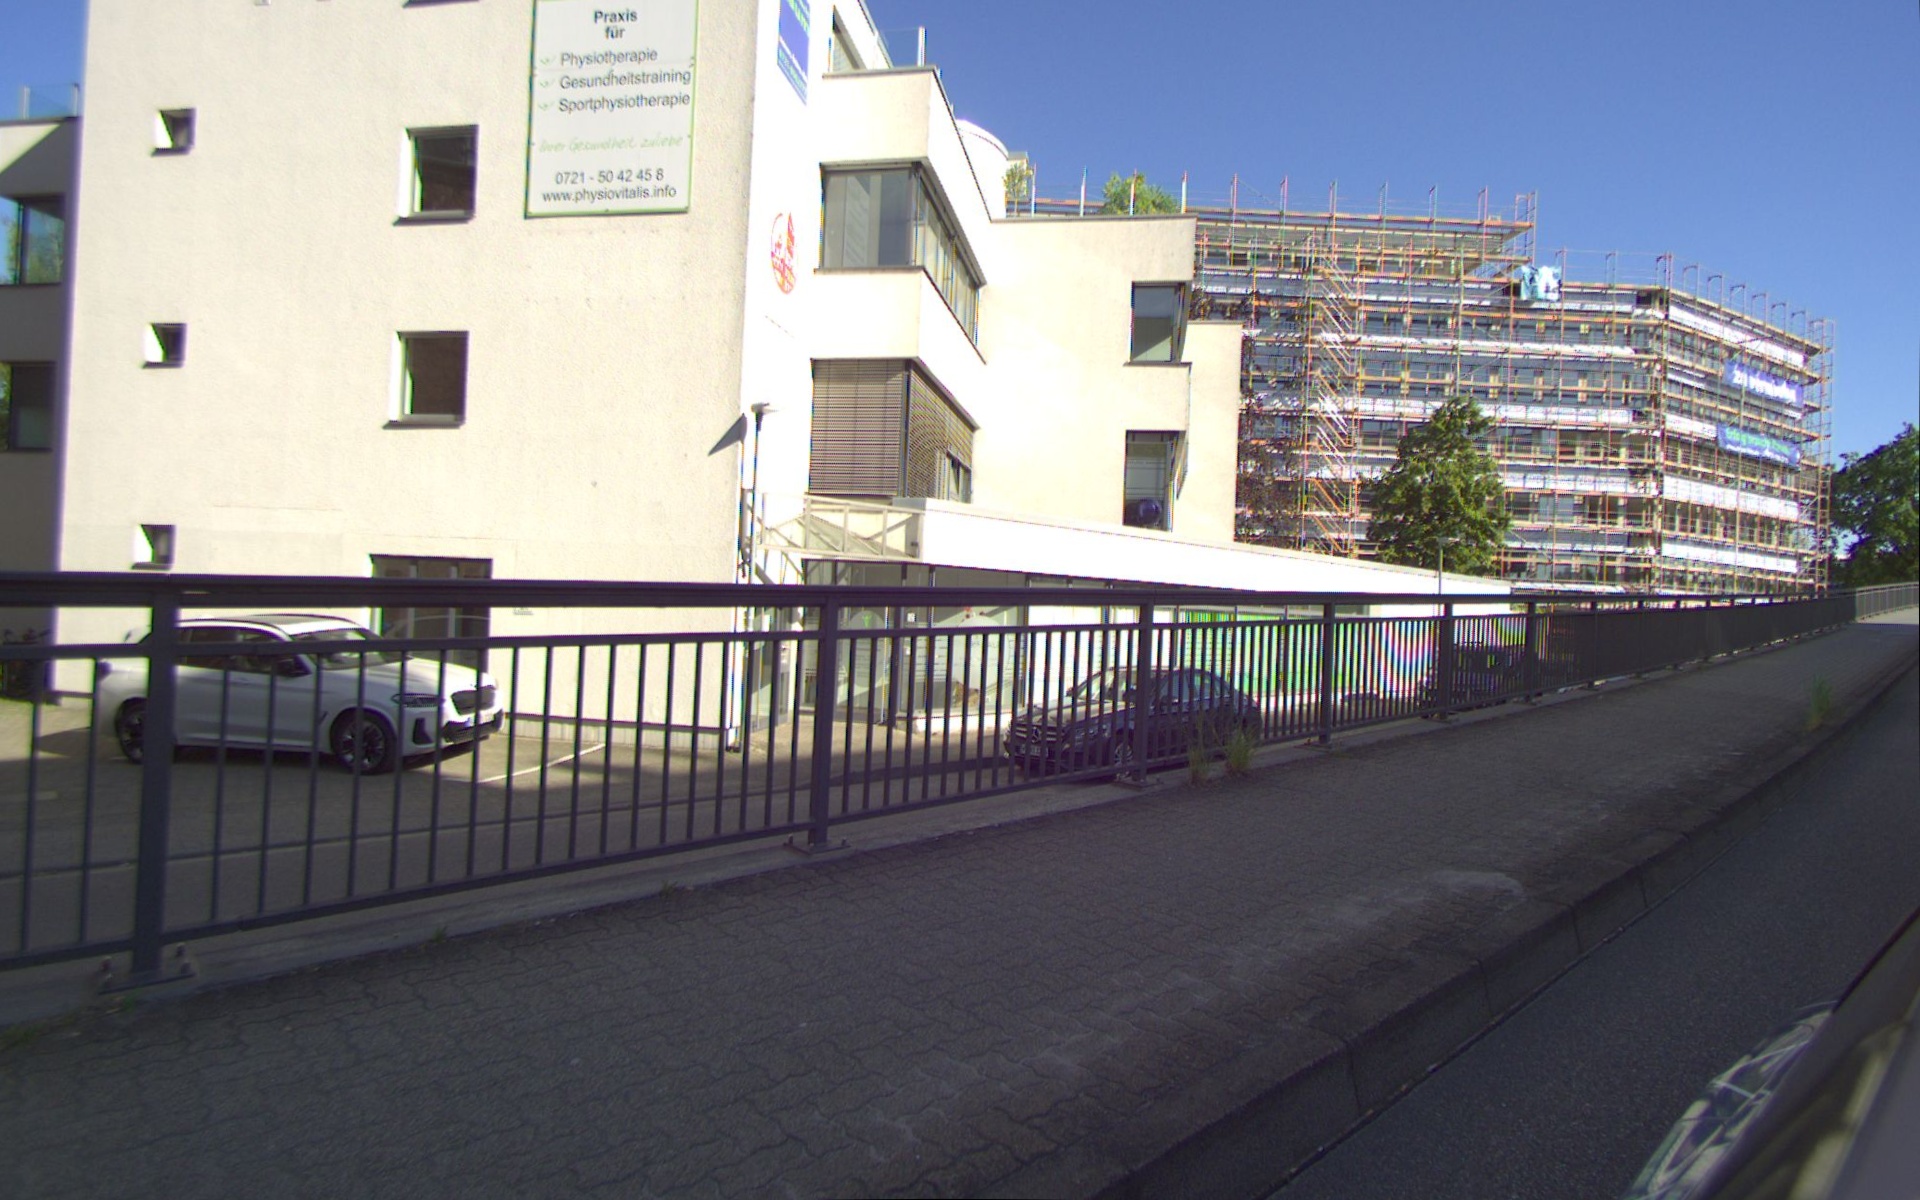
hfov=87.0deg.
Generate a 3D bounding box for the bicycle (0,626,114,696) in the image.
[{"bbox_3d":[-15.864,1.026,17.486,0.655,1.065,1.916,2,1,11],"label":"bicycle"}]

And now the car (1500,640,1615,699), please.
[{"bbox_3d":[16.520,1.864,27.909,3.932,1.410,1.723,1,-1,-43],"label":"car"}]

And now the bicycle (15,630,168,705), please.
[{"bbox_3d":[-14.383,1.086,16.834,0.655,1.065,1.916,2,1,11],"label":"bicycle"}]

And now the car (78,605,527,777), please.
[{"bbox_3d":[-7.869,0.998,12.322,4.454,1.707,1.841,2,0,8],"label":"car"}]

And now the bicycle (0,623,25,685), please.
[{"bbox_3d":[-17.663,0.983,17.680,0.655,1.065,1.916,2,1,11],"label":"bicycle"}]

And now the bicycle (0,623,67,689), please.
[{"bbox_3d":[-16.784,0.976,17.560,0.655,1.065,1.916,2,1,11],"label":"bicycle"}]

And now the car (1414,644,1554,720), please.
[{"bbox_3d":[12.441,1.856,23.932,3.932,1.541,1.723,1,-1,-43],"label":"car"}]

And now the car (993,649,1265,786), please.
[{"bbox_3d":[2.495,1.538,14.399,3.930,1.541,1.724,1,-1,-42],"label":"car"}]

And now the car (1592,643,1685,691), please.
[{"bbox_3d":[22.564,2.172,33.618,3.932,1.410,1.723,1,-1,-43],"label":"car"}]
